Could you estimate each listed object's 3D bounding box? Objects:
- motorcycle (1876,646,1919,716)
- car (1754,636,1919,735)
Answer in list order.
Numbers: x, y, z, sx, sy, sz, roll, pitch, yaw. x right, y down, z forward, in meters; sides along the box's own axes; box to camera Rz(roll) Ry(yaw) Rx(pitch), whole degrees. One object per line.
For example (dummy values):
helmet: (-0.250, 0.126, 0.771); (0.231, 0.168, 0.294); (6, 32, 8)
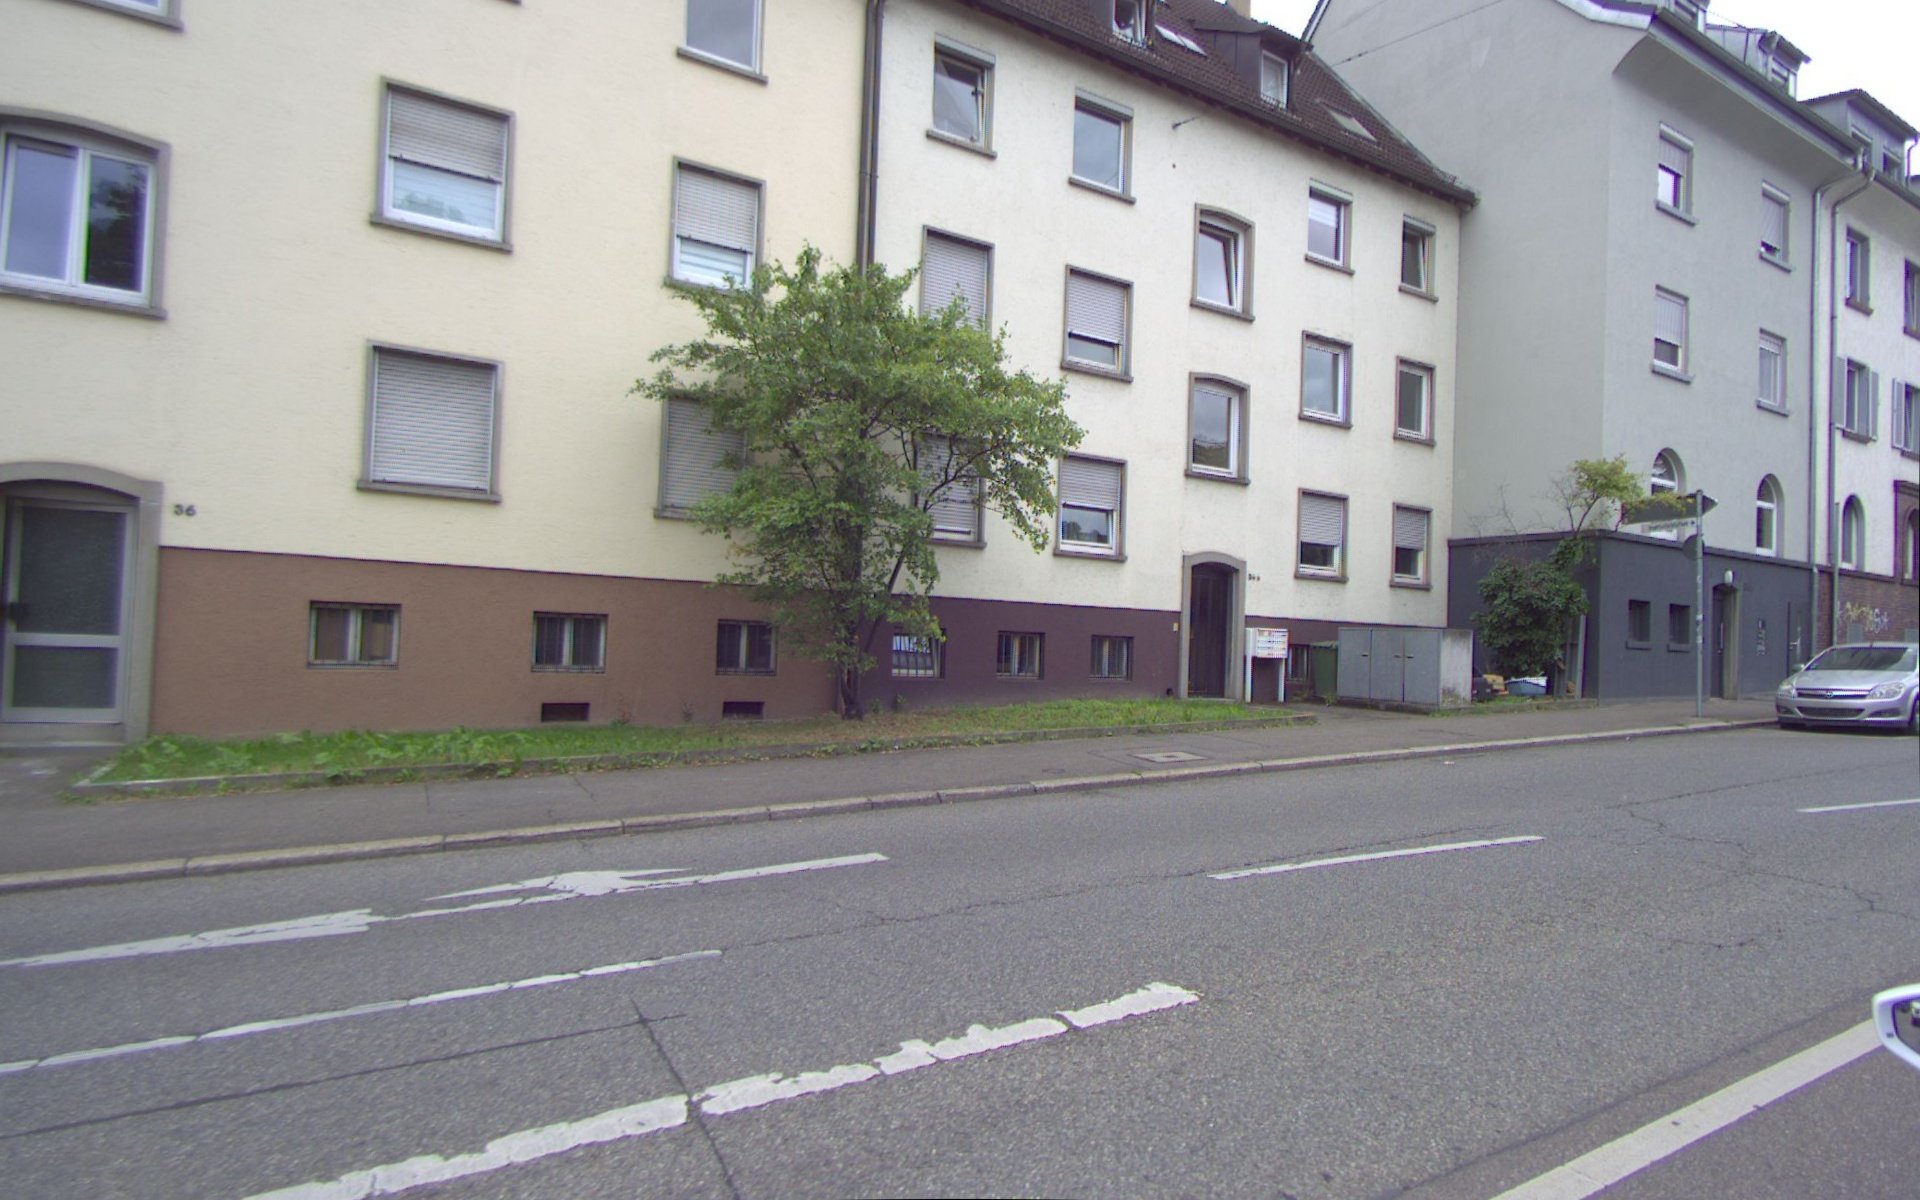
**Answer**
motorcycle: (17.971, 1.453, 18.164); (2.018, 1.251, 0.803); (-4, -3, 43)
car: (14.897, 1.303, 16.356); (4.288, 1.392, 1.718); (1, -2, -31)
